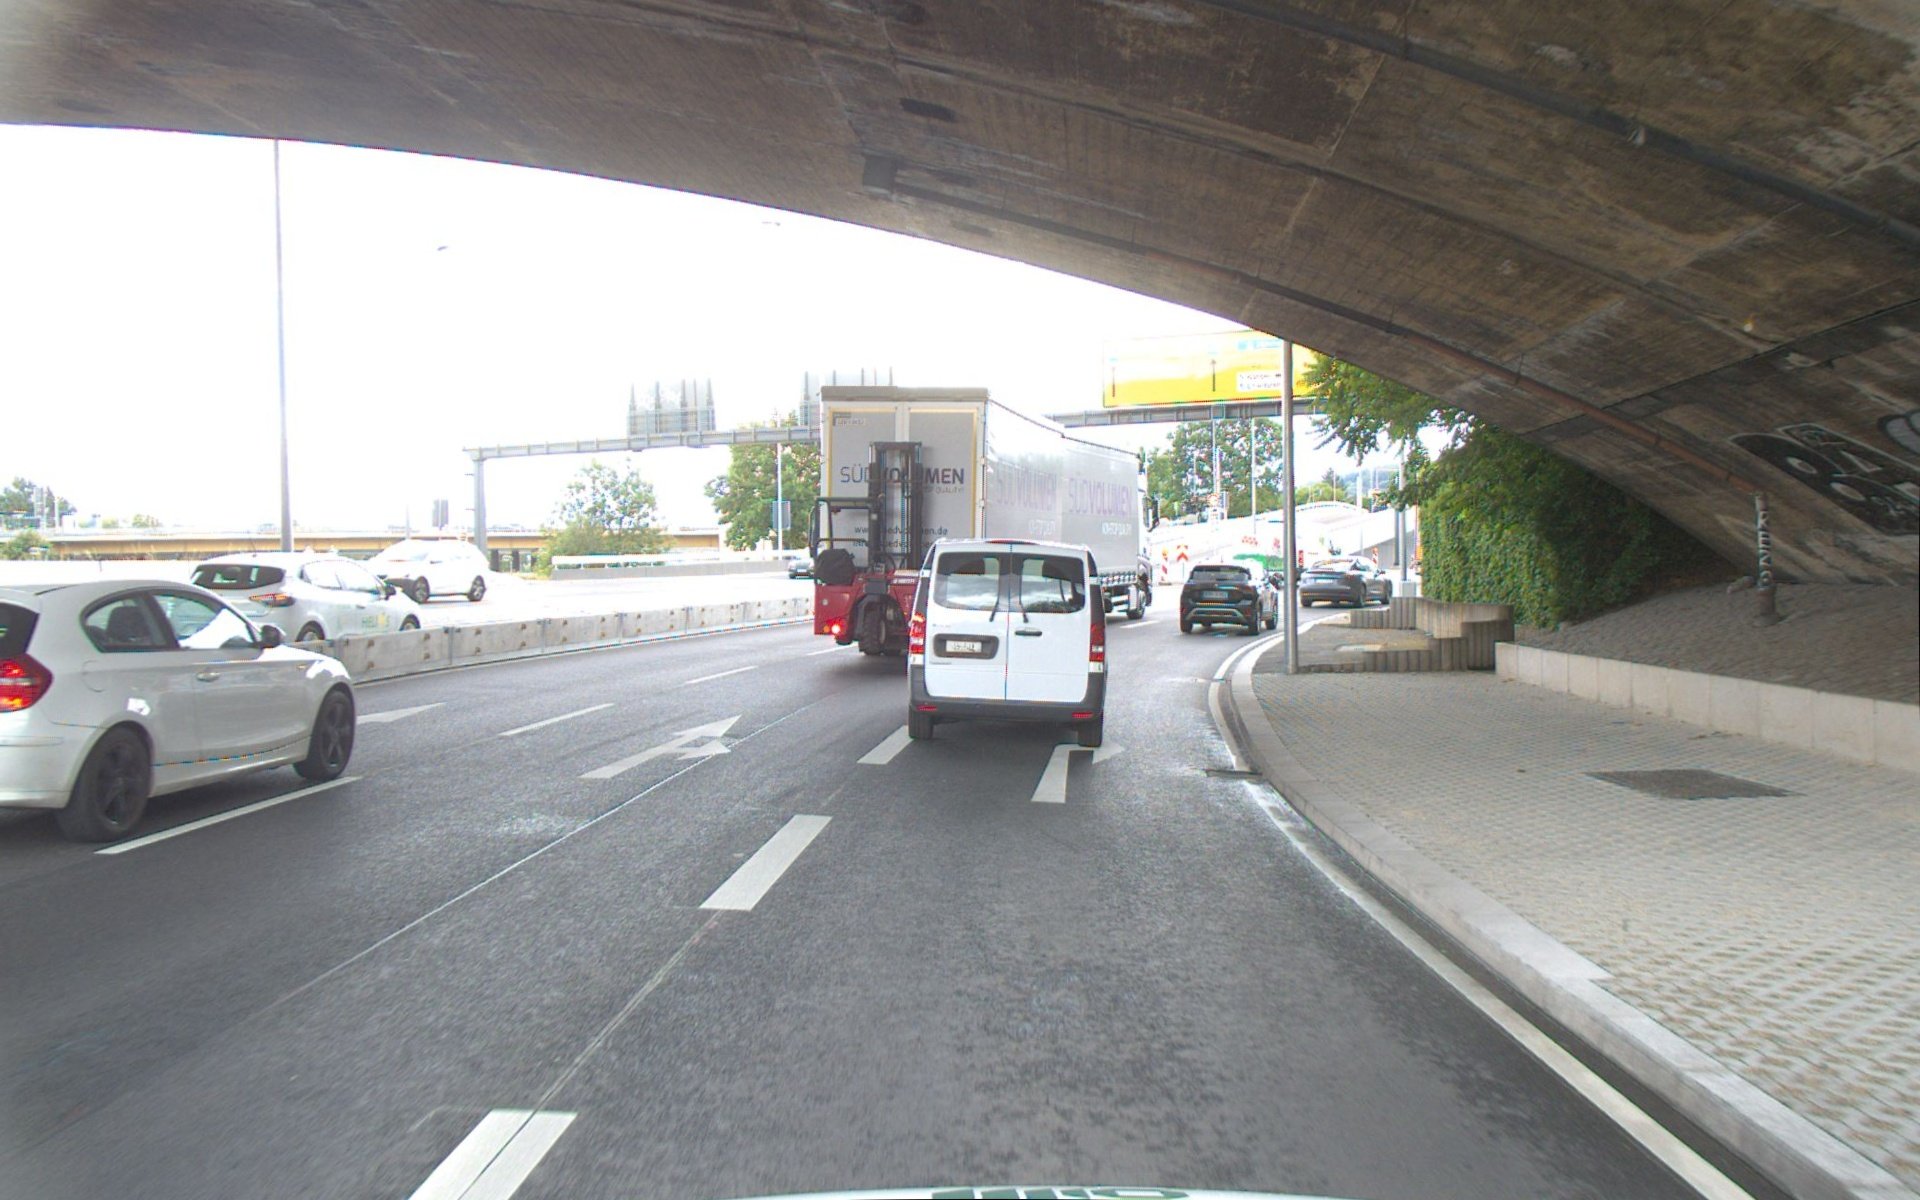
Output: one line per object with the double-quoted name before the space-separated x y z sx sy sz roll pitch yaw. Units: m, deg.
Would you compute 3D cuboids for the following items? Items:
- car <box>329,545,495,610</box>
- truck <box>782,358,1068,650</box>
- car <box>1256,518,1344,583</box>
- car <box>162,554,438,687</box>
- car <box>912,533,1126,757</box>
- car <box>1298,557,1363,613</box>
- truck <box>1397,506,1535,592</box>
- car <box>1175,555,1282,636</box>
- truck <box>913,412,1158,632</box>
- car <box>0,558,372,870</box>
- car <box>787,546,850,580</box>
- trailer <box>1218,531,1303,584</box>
"car" -13.372 -0.575 40.653 1.816 1.512 4.547 0 1 12
"truck" -0.192 -1.445 28.416 2.855 4.087 10.210 1 1 10
"car" 14.283 -2.062 69.175 1.957 2.585 5.162 2 2 31
"car" -8.243 0.219 21.066 1.542 1.510 4.000 1 0 6
"car" 0.539 0.315 16.918 1.838 1.923 4.754 1 2 0
"car" 10.926 -0.415 48.665 1.470 1.495 3.399 0 -2 20
"truck" 25.426 -2.491 82.236 3.254 3.875 16.568 1 2 29
"car" 6.027 -0.141 36.813 1.713 1.653 3.847 -1 1 18
"truck" 2.098 -1.618 37.863 2.924 4.249 11.248 1 1 16
"car" -5.208 0.508 10.127 1.604 1.457 3.984 2 2 3
"car" -6.848 -1.789 80.385 1.699 1.608 4.152 0 1 15
"trailer" 11.895 -1.687 65.244 1.957 1.991 4.069 2 2 31
